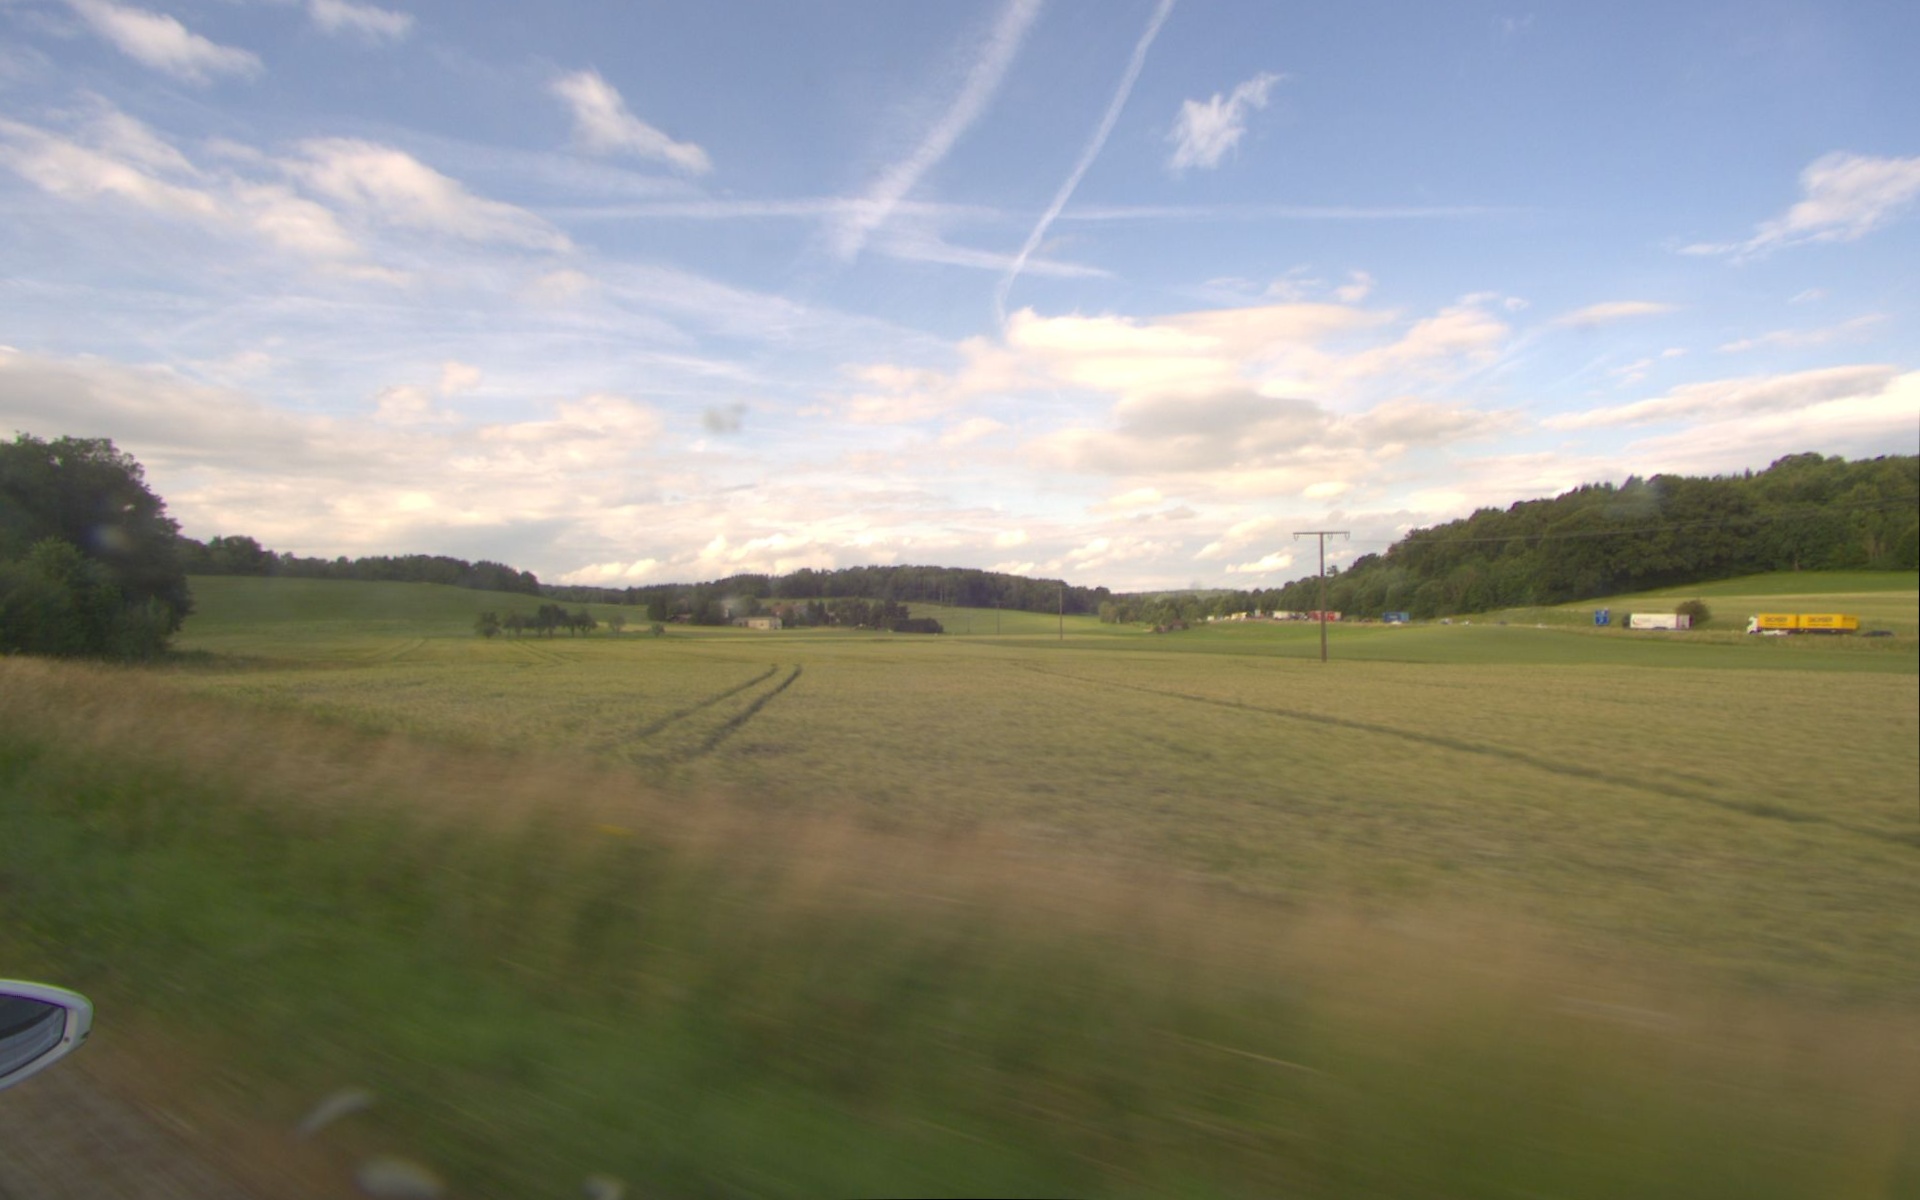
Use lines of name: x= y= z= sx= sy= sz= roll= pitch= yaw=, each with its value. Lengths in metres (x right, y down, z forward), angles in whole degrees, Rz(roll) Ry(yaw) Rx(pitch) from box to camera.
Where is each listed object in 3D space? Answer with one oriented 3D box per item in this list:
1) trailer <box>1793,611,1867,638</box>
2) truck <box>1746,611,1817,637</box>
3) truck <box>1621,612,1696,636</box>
trailer: x=142.253 y=3.998 z=163.911 sx=3.763 sy=4.113 sz=9.129 roll=-4 pitch=0 yaw=-2
truck: x=141.924 y=4.143 z=173.249 sx=3.763 sy=4.113 sz=9.802 roll=-4 pitch=0 yaw=-2
truck: x=141.108 y=4.758 z=202.686 sx=4.001 sy=4.048 sz=14.420 roll=-5 pitch=0 yaw=-4
